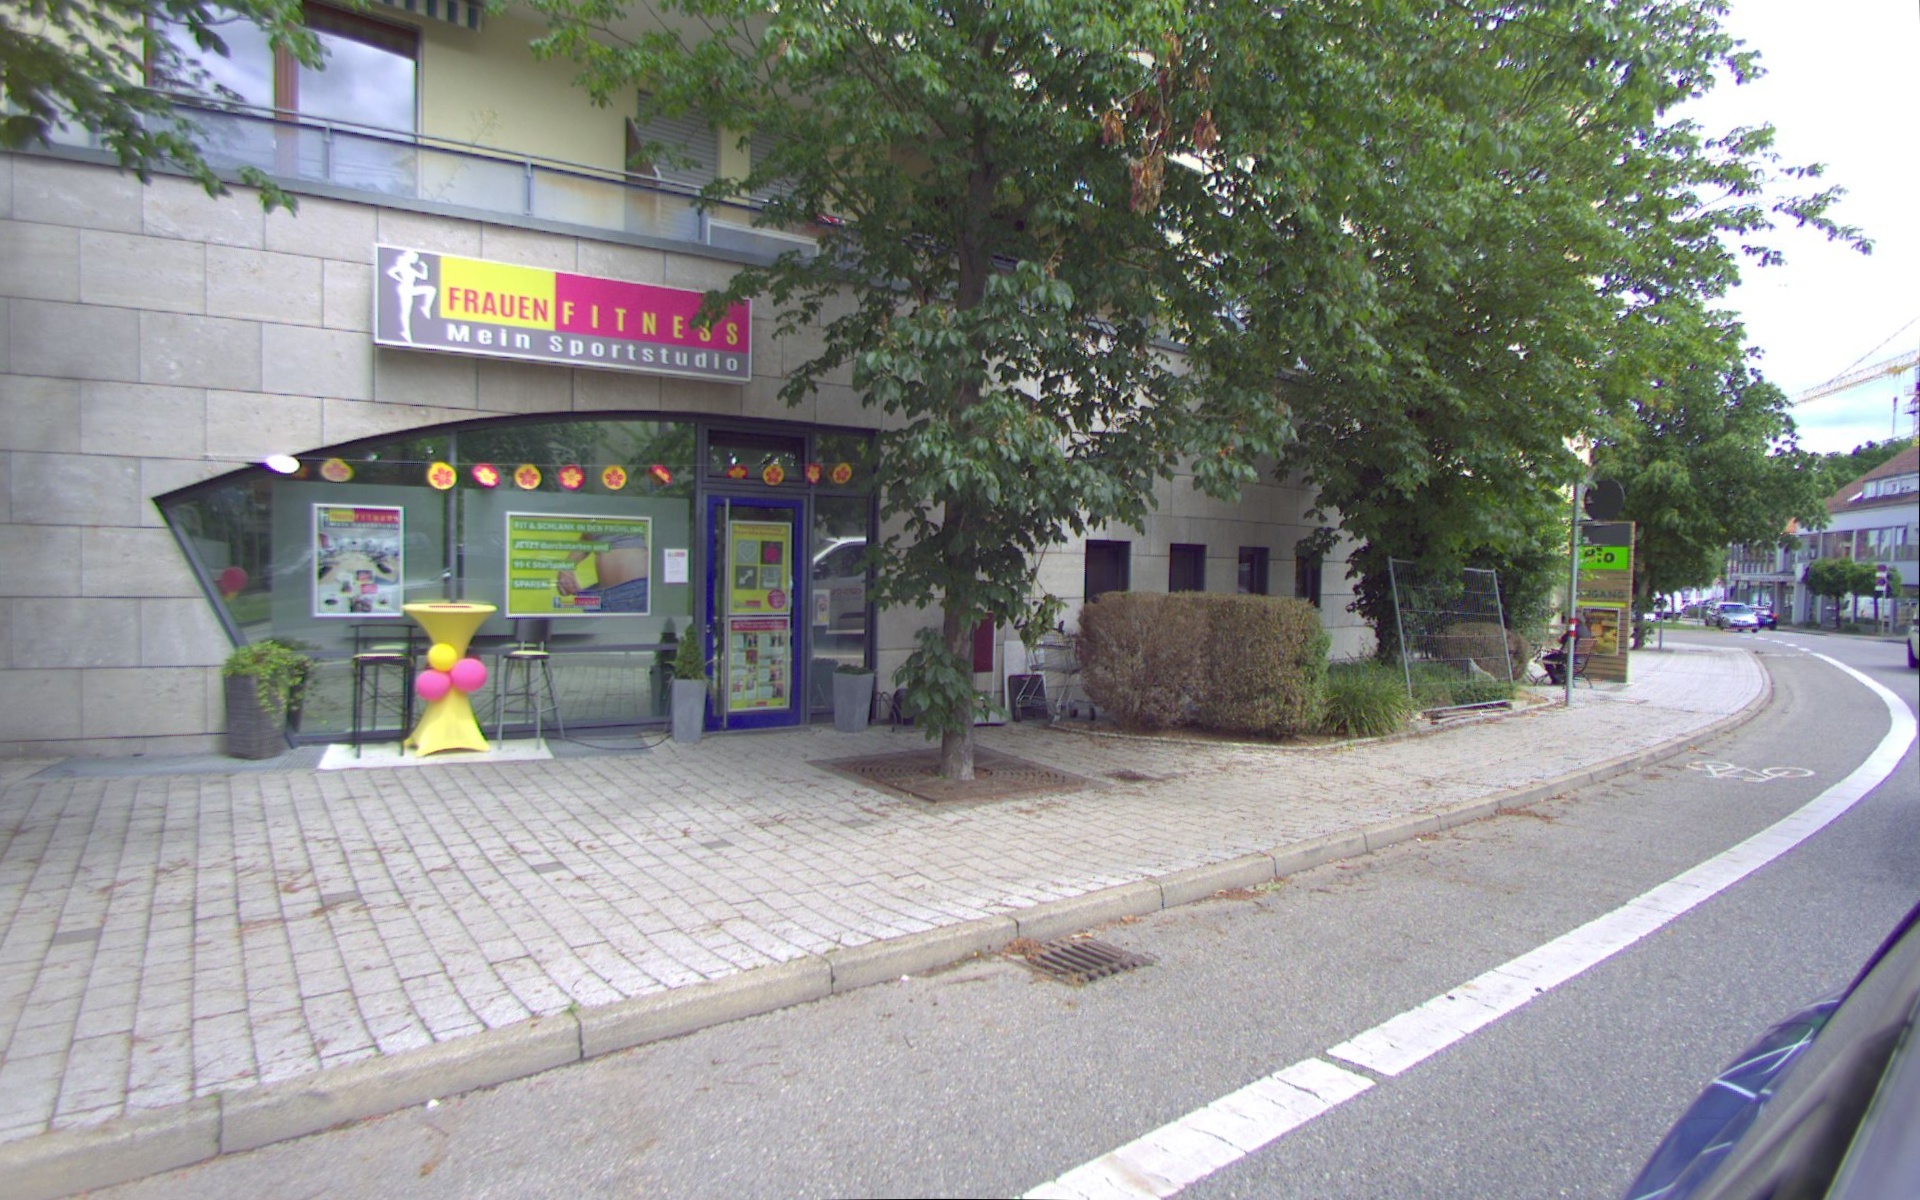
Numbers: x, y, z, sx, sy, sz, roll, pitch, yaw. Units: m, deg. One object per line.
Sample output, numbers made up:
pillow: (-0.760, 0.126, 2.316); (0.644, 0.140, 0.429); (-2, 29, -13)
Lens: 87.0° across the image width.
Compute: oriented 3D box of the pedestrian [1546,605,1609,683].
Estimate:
pedestrian: (11.014, 0.758, 18.062); (0.740, 1.317, 0.731); (1, 2, -41)

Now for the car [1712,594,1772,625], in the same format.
car: (40.807, 0.470, 52.885); (1.677, 1.505, 3.964); (0, 0, 26)

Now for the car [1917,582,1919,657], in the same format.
car: (23.154, 0.494, 22.771); (1.842, 1.839, 3.948); (0, 0, 36)

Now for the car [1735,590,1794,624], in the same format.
car: (48.666, 0.377, 61.279); (1.722, 1.874, 3.969); (2, 2, 23)
